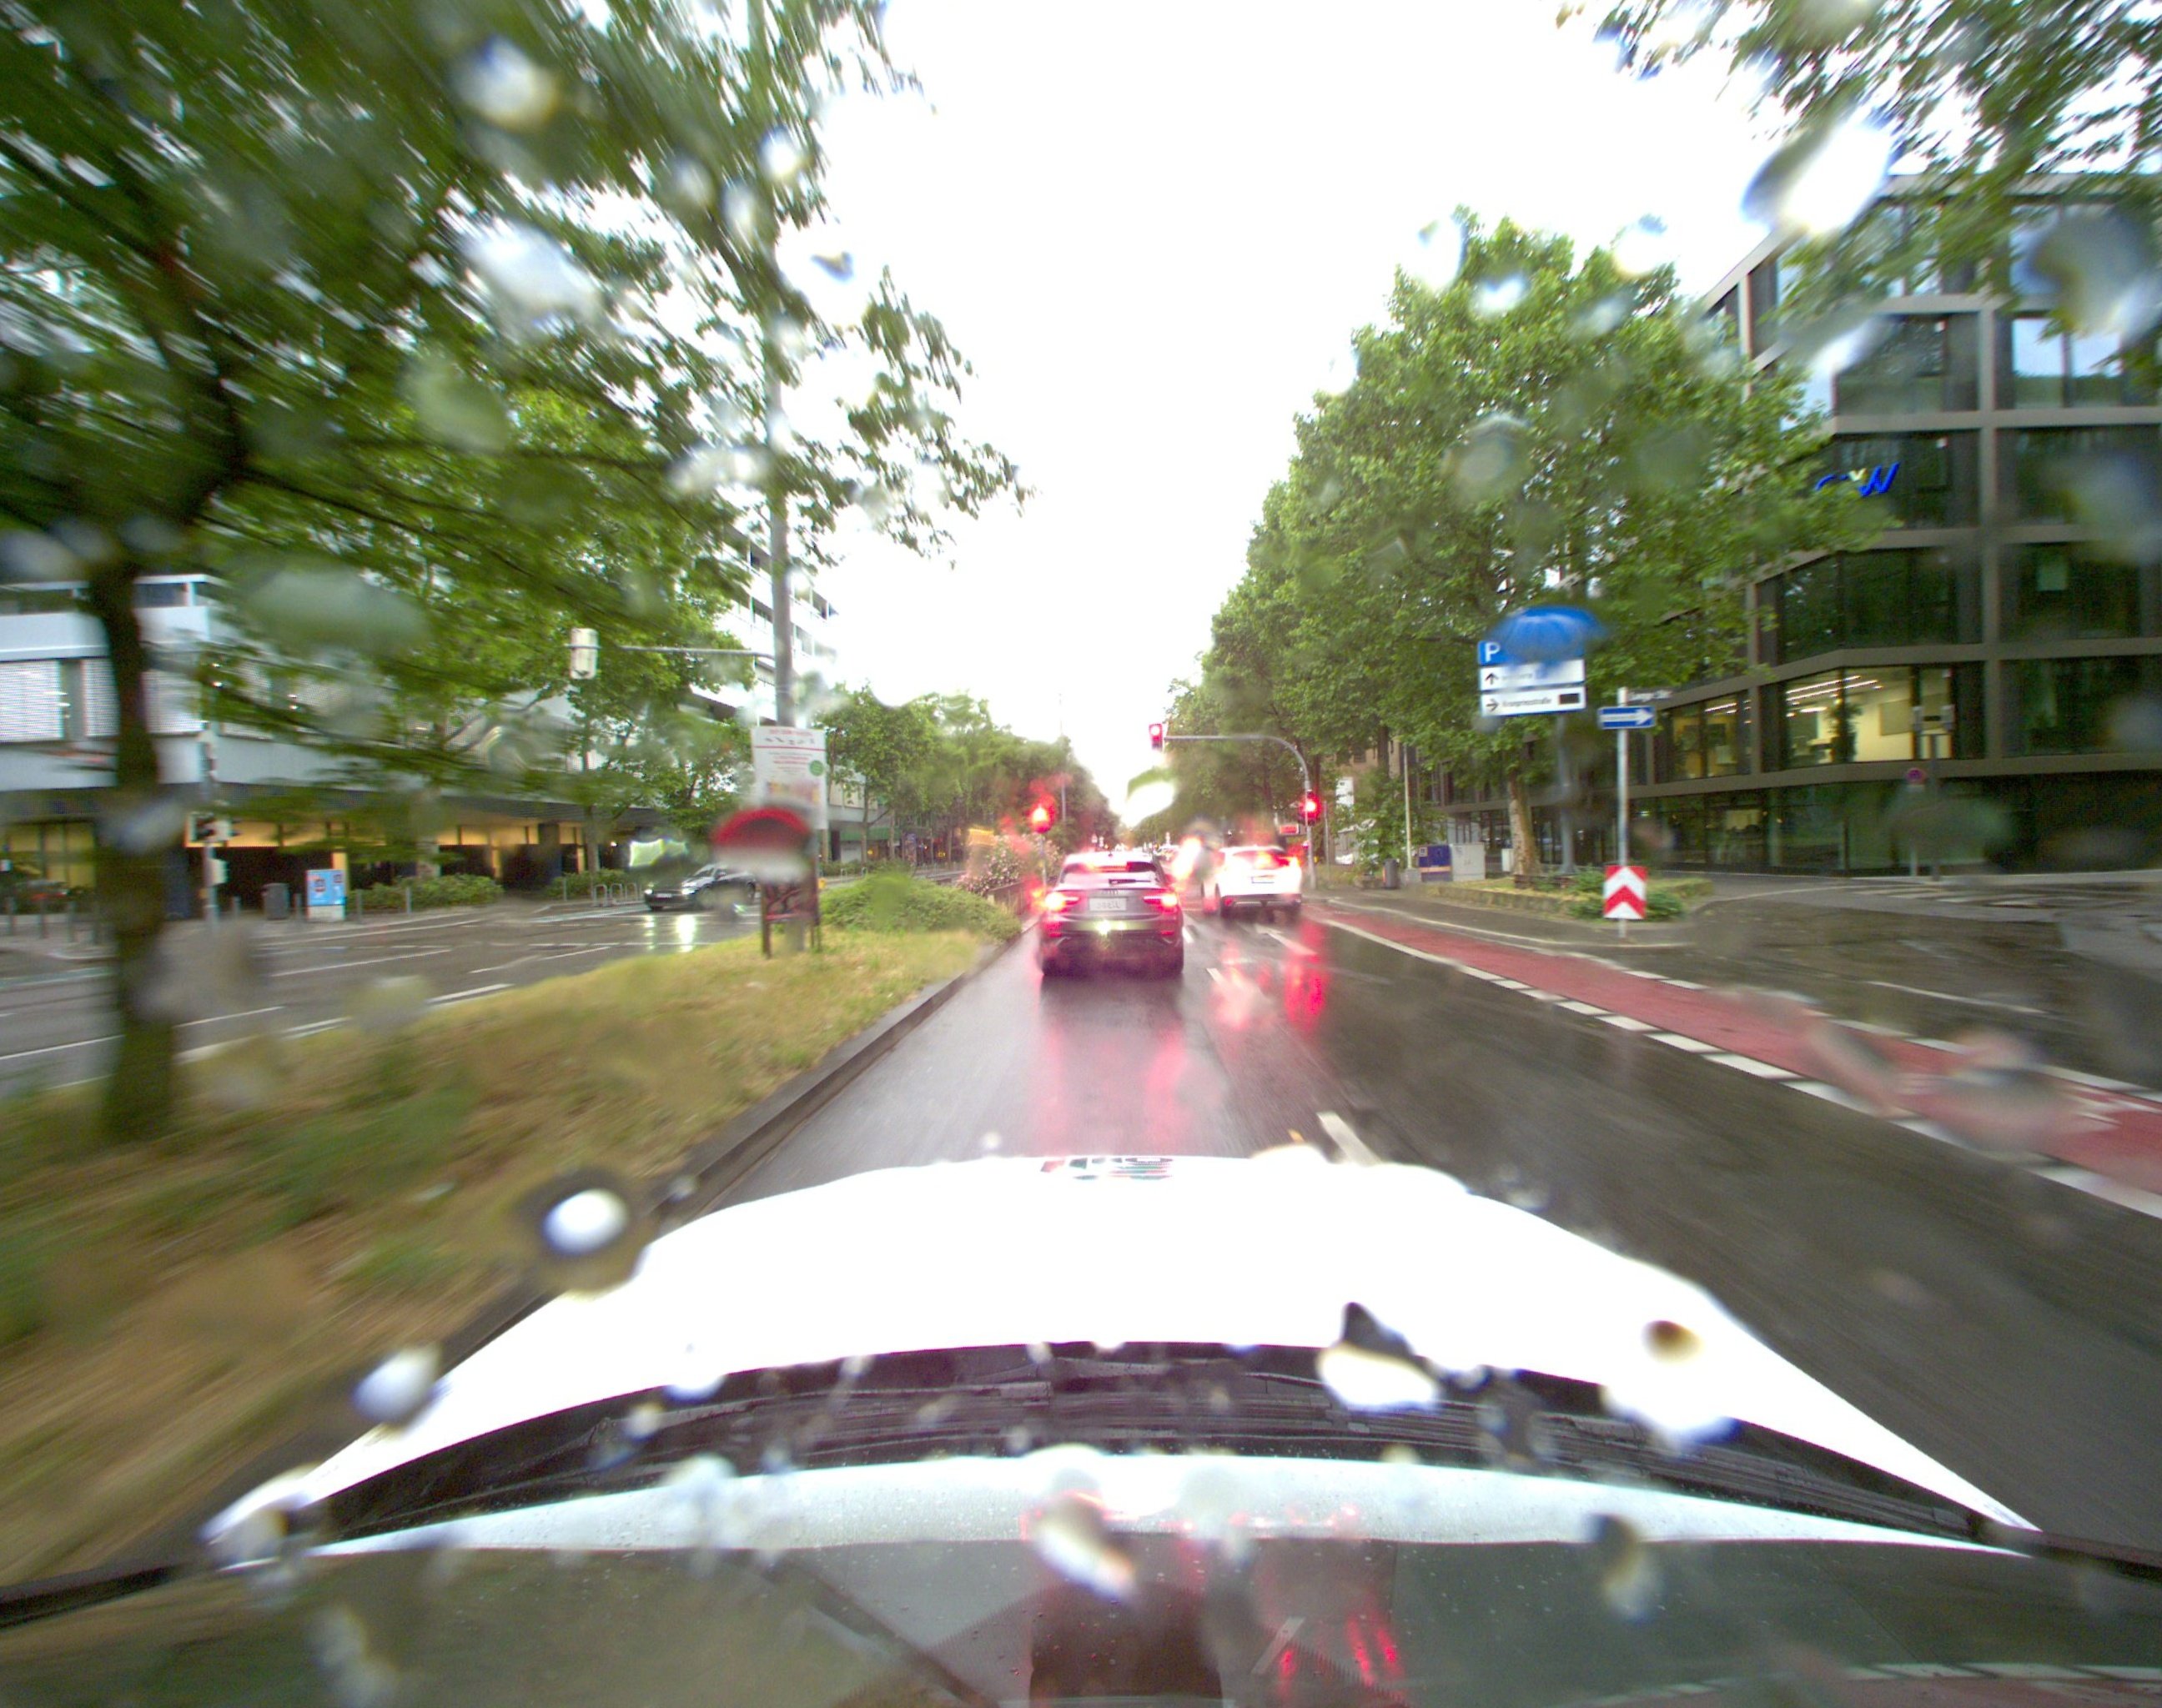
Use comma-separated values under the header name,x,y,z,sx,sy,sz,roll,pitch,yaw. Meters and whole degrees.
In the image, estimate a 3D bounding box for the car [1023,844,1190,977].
name,x,y,z,sx,sy,sz,roll,pitch,yaw
car,0.384,0.637,11.543,1.911,1.491,4.003,-2,1,2

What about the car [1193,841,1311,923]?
name,x,y,z,sx,sy,sz,roll,pitch,yaw
car,3.936,0.555,19.606,1.986,1.655,4.892,-2,1,2

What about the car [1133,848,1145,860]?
name,x,y,z,sx,sy,sz,roll,pitch,yaw
car,8.973,-0.011,126.271,1.614,1.666,4.003,-2,0,2

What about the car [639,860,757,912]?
name,x,y,z,sx,sy,sz,roll,pitch,yaw
car,-13.143,1.052,28.277,1.822,1.552,4.194,-2,0,4
